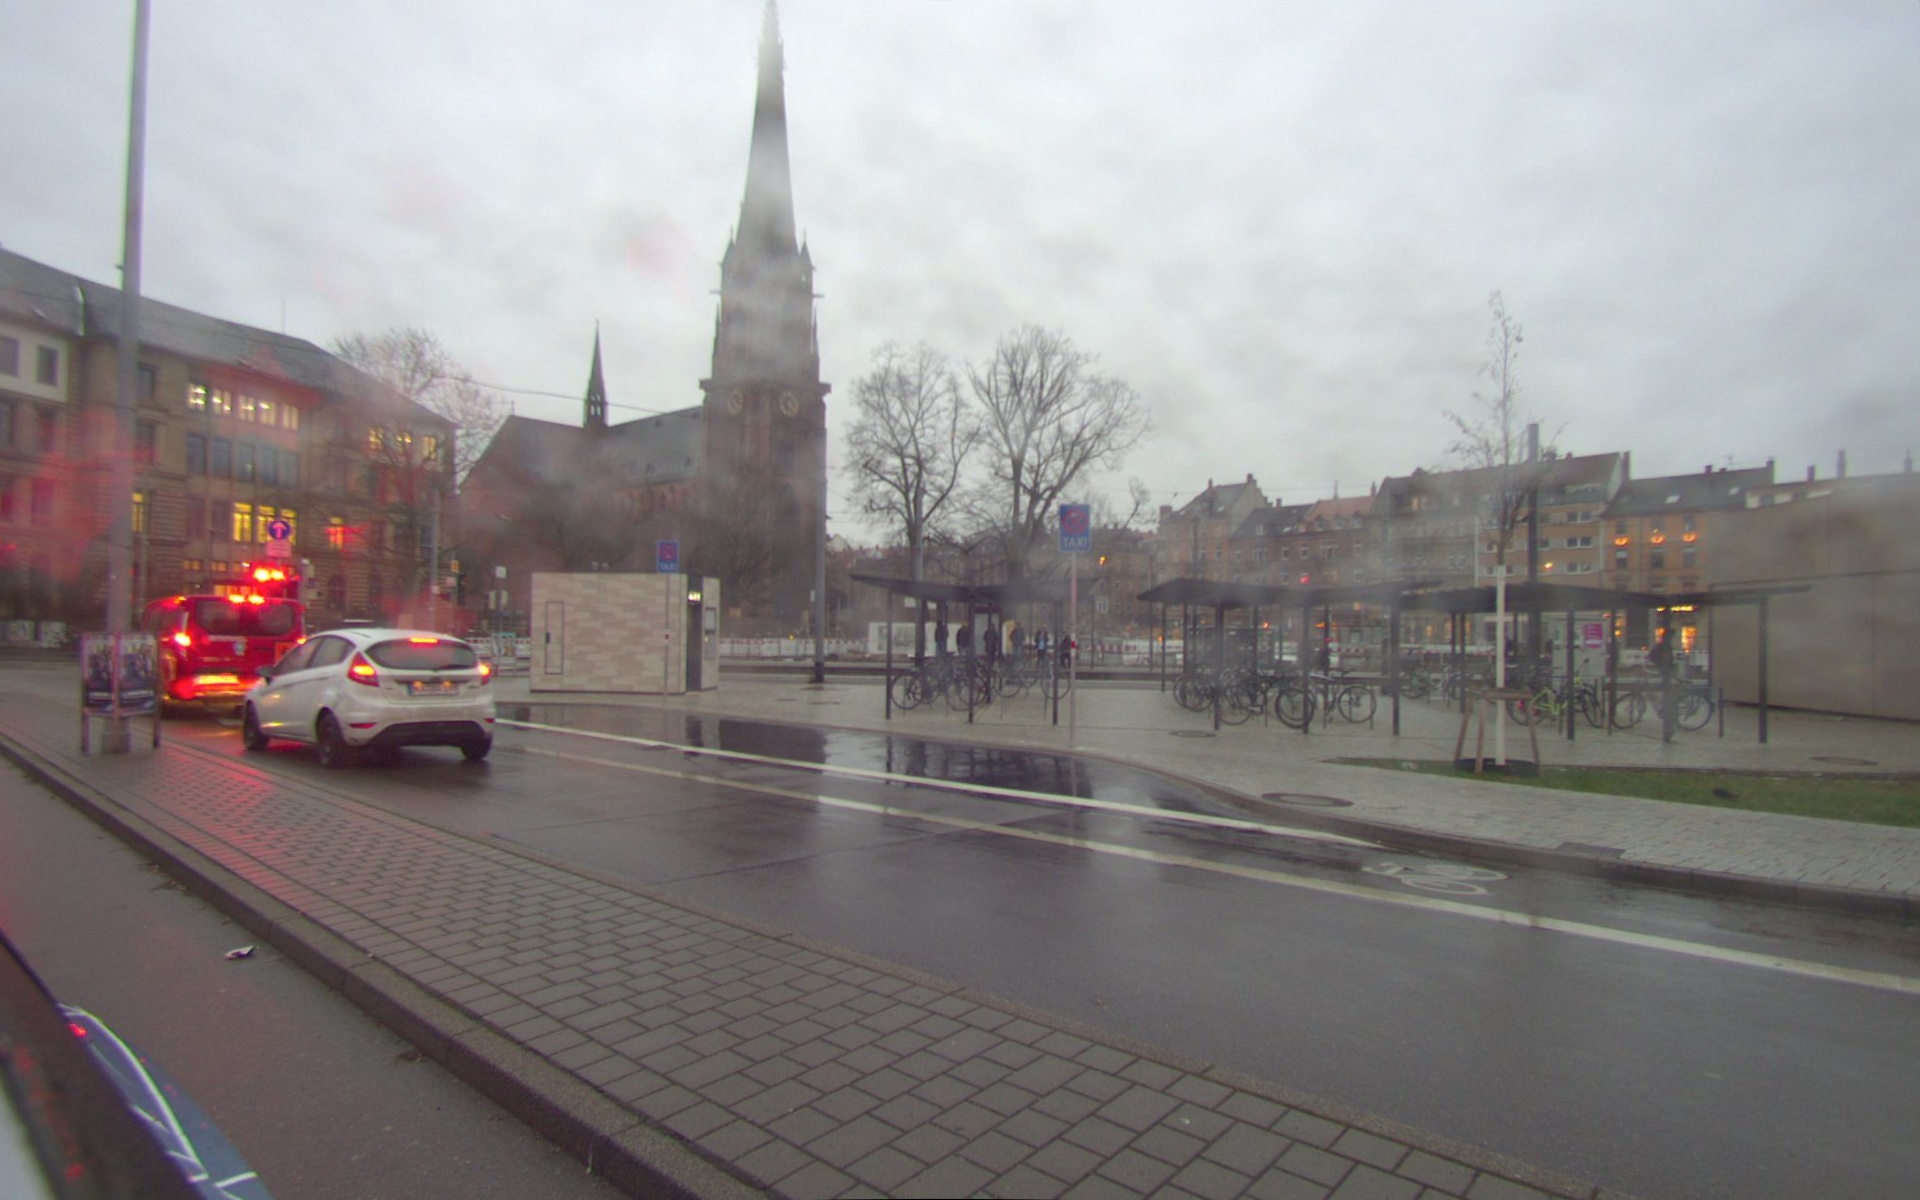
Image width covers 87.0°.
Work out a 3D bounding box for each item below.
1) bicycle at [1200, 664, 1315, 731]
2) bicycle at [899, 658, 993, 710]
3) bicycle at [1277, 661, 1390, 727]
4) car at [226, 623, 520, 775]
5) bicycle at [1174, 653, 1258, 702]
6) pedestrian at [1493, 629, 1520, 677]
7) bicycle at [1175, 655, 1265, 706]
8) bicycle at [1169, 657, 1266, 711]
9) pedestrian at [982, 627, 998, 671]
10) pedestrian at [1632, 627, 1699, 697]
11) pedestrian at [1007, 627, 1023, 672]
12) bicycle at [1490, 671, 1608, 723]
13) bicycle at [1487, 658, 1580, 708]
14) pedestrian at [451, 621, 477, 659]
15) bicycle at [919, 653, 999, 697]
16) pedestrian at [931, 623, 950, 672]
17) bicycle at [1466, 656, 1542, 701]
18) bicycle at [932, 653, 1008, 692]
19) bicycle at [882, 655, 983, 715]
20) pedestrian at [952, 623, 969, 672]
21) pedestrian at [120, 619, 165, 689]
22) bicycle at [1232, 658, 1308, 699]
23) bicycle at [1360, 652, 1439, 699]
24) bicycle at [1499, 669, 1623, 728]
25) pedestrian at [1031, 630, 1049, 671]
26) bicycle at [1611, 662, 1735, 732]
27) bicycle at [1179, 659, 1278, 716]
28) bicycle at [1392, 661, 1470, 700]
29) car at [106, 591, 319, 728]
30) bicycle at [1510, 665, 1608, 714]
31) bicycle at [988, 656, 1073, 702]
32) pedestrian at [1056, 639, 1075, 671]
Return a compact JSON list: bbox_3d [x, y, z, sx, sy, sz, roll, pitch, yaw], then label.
[{"bbox_3d":[5.255,1.717,17.947,1.905,1.078,0.473,1,-1,11],"label":"bicycle"},{"bbox_3d":[-0.288,1.731,21.095,1.905,0.993,0.473,1,-1,11],"label":"bicycle"},{"bbox_3d":[6.944,1.732,18.857,1.905,1.129,0.473,1,-1,11],"label":"bicycle"},{"bbox_3d":[-6.886,1.051,11.748,3.711,1.459,1.722,-1,-5,40],"label":"car"},{"bbox_3d":[6.063,1.826,24.031,1.905,1.078,0.473,1,-1,11],"label":"bicycle"},{"bbox_3d":[19.333,1.872,35.834,0.694,1.679,0.526,0,-3,15],"label":"pedestrian"},{"bbox_3d":[5.848,1.806,22.840,1.905,1.078,0.473,1,-1,11],"label":"bicycle"},{"bbox_3d":[5.430,1.770,21.392,1.899,1.078,0.474,1,-1,2],"label":"bicycle"},{"bbox_3d":[1.148,1.856,38.643,0.556,1.664,0.540,-1,0,-1],"label":"pedestrian"},{"bbox_3d":[18.396,1.612,26.416,1.055,1.778,1.009,0,-3,9],"label":"pedestrian"},{"bbox_3d":[2.067,1.853,38.105,0.543,1.648,0.571,-1,0,-1],"label":"pedestrian"},{"bbox_3d":[11.366,1.860,19.562,1.905,0.898,0.473,1,-1,11],"label":"bicycle"},{"bbox_3d":[13.252,1.906,23.408,1.810,1.081,0.474,1,-1,8],"label":"bicycle"},{"bbox_3d":[-24.445,1.966,49.866,0.886,1.830,0.674,1,-2,2],"label":"pedestrian"},{"bbox_3d":[-0.016,1.826,24.860,1.905,0.993,0.473,1,-1,11],"label":"bicycle"},{"bbox_3d":[-0.751,1.809,38.378,0.660,1.808,0.827,-1,0,-2],"label":"pedestrian"},{"bbox_3d":[13.232,1.913,24.655,1.551,1.044,0.521,1,-1,1],"label":"bicycle"},{"bbox_3d":[0.270,1.866,26.117,1.905,0.917,0.473,1,-1,11],"label":"bicycle"},{"bbox_3d":[-0.539,1.651,19.858,1.905,1.078,0.473,1,-1,11],"label":"bicycle"},{"bbox_3d":[0.004,1.799,38.569,0.619,1.808,0.672,-1,0,-1],"label":"pedestrian"},{"bbox_3d":[-20.541,1.348,25.433,0.786,1.736,0.676,3,-3,-37],"label":"pedestrian"},{"bbox_3d":[7.661,1.939,25.061,1.729,0.946,0.474,1,-1,7],"label":"bicycle"},{"bbox_3d":[11.183,1.922,25.793,1.780,1.116,0.473,1,-1,11],"label":"bicycle"},{"bbox_3d":[11.125,1.811,18.775,1.905,0.983,0.473,1,-1,11],"label":"bicycle"},{"bbox_3d":[3.033,1.908,38.323,0.580,1.513,0.675,-1,0,-1],"label":"pedestrian"},{"bbox_3d":[12.688,1.722,18.036,1.731,1.165,0.617,1,-1,1],"label":"bicycle"},{"bbox_3d":[5.443,1.772,20.608,1.905,1.078,0.473,1,-1,11],"label":"bicycle"},{"bbox_3d":[11.620,1.989,24.982,1.672,0.898,0.474,1,-1,5],"label":"bicycle"},{"bbox_3d":[-13.156,0.994,17.714,4.640,2.086,1.904,-1,-4,40],"label":"car"},{"bbox_3d":[12.899,1.917,21.821,1.751,0.963,0.473,1,-1,11],"label":"bicycle"},{"bbox_3d":[1.638,1.819,23.414,1.905,0.993,0.473,1,-1,11],"label":"bicycle"},{"bbox_3d":[3.980,2.069,38.315,0.610,1.165,0.806,-1,0,-1],"label":"pedestrian"}]
